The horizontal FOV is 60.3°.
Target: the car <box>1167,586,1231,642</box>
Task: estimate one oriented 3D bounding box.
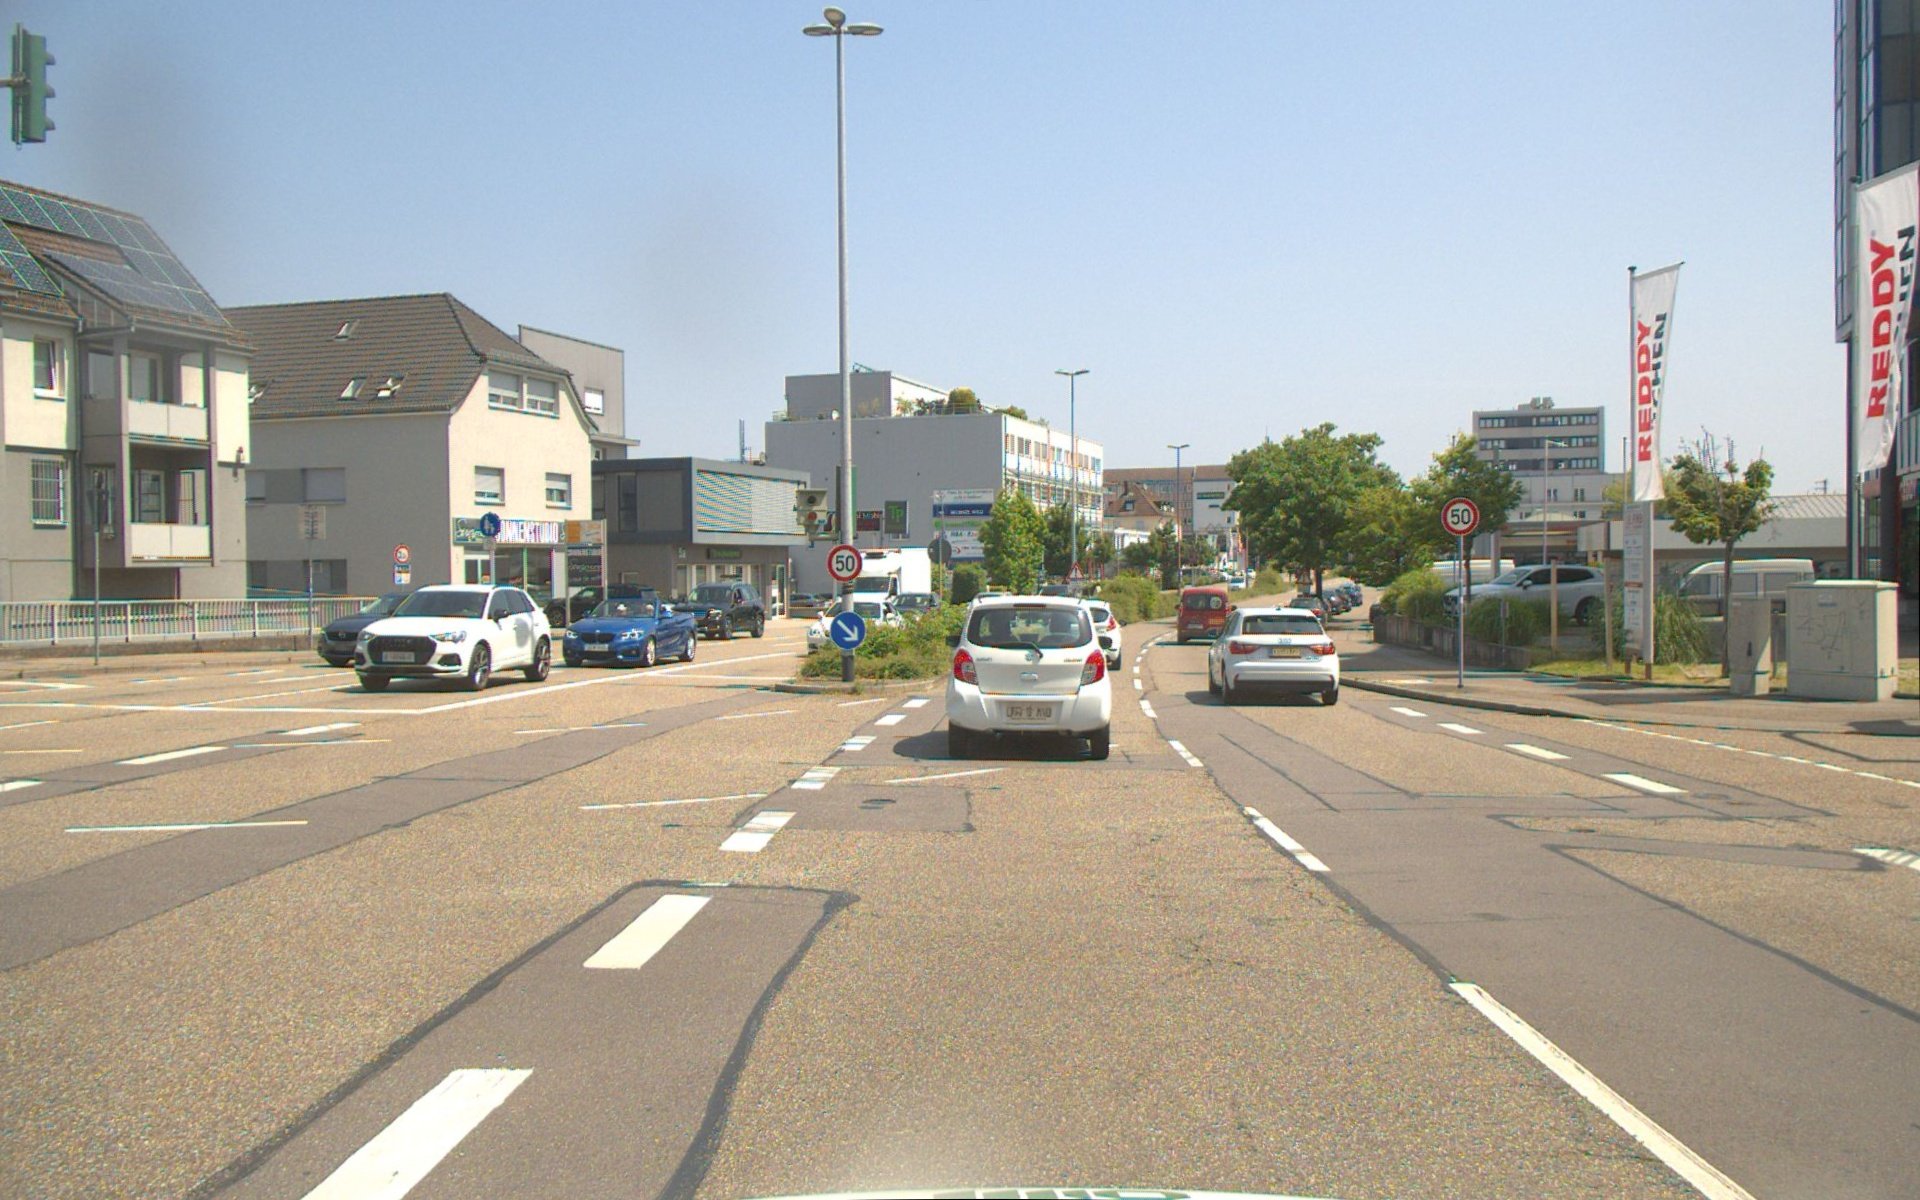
[{"bbox_3d":[7.810,0.428,54.323,1.757,1.759,3.974,1,0,3],"label":"car"}]

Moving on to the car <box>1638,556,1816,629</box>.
[{"bbox_3d":[28.271,-0.291,61.205,5.763,2.573,2.120,1,-1,19],"label":"car"}]

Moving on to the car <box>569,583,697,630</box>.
[{"bbox_3d":[-12.791,0.238,64.833,4.508,1.522,1.754,4,1,8],"label":"car"}]

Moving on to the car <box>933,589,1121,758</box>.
[{"bbox_3d":[0.603,0.695,17.044,1.678,1.537,3.246,1,0,-2],"label":"car"}]

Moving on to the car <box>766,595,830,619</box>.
[{"bbox_3d":[-10.887,0.485,111.205,3.886,1.493,1.966,-1,1,11],"label":"car"}]

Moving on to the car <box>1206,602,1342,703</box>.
[{"bbox_3d":[4.805,0.761,25.739,1.632,1.424,3.795,0,0,4],"label":"car"}]

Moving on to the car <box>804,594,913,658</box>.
[{"bbox_3d":[-2.406,0.592,40.573,1.823,1.456,4.748,1,0,7],"label":"car"}]

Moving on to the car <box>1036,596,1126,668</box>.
[{"bbox_3d":[2.617,0.670,36.622,1.792,1.475,4.001,1,0,1],"label":"car"}]

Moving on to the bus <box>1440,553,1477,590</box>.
[{"bbox_3d":[47.240,-2.756,156.579,2.746,3.132,12.290,0,2,20],"label":"bus"}]

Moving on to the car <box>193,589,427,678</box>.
[{"bbox_3d":[-12.008,0.558,30.852,1.461,1.474,4.269,1,1,25],"label":"car"}]

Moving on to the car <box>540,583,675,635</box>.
[{"bbox_3d":[-13.055,0.307,61.371,4.509,1.655,1.855,3,1,16],"label":"car"}]

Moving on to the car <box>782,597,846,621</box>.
[{"bbox_3d":[-10.061,0.631,114.467,3.890,1.493,2.075,-2,0,14],"label":"car"}]

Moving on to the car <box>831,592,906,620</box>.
[{"bbox_3d":[-5.050,0.327,91.519,3.902,1.485,1.577,-1,-1,12],"label":"car"}]

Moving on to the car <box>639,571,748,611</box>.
[{"bbox_3d":[-10.945,-0.356,68.019,3.970,1.548,2.002,-1,0,13],"label":"car"}]

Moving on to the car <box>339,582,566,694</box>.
[{"bbox_3d":[-7.949,0.547,26.381,1.778,1.597,4.559,1,0,6],"label":"car"}]

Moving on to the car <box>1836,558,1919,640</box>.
[{"bbox_3d":[34.640,0.011,58.716,5.988,2.859,2.001,1,-1,18],"label":"car"}]

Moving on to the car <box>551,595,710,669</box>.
[{"bbox_3d":[-6.711,0.622,34.168,1.823,1.390,4.350,1,0,8],"label":"car"}]

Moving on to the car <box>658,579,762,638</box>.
[{"bbox_3d":[-7.535,0.225,50.287,1.951,1.685,4.597,-1,1,6],"label":"car"}]

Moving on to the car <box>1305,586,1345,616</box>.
[{"bbox_3d":[21.775,0.043,98.634,1.919,1.556,5.165,-3,0,16],"label":"car"}]

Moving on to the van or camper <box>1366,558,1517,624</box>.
[{"bbox_3d":[22.425,-0.427,77.192,6.652,2.948,2.277,-1,1,16],"label":"van or camper"}]

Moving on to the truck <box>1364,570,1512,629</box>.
[{"bbox_3d":[21.030,-0.036,72.863,6.114,2.377,2.370,-2,1,18],"label":"truck"}]

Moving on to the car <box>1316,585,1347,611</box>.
[{"bbox_3d":[23.465,-0.140,104.365,1.815,1.507,5.161,0,1,13],"label":"car"}]

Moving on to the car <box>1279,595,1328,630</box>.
[{"bbox_3d":[14.579,0.552,70.062,1.759,1.431,4.323,1,-1,15],"label":"car"}]

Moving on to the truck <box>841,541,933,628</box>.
[{"bbox_3d":[-3.011,-0.595,70.508,2.216,3.477,7.044,1,0,11],"label":"truck"}]

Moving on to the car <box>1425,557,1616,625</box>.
[{"bbox_3d":[15.493,-0.224,45.841,4.637,1.743,1.996,1,-1,-9],"label":"car"}]

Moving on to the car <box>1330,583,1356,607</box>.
[{"bbox_3d":[26.738,-0.348,115.345,1.677,1.575,4.795,-1,0,14],"label":"car"}]
